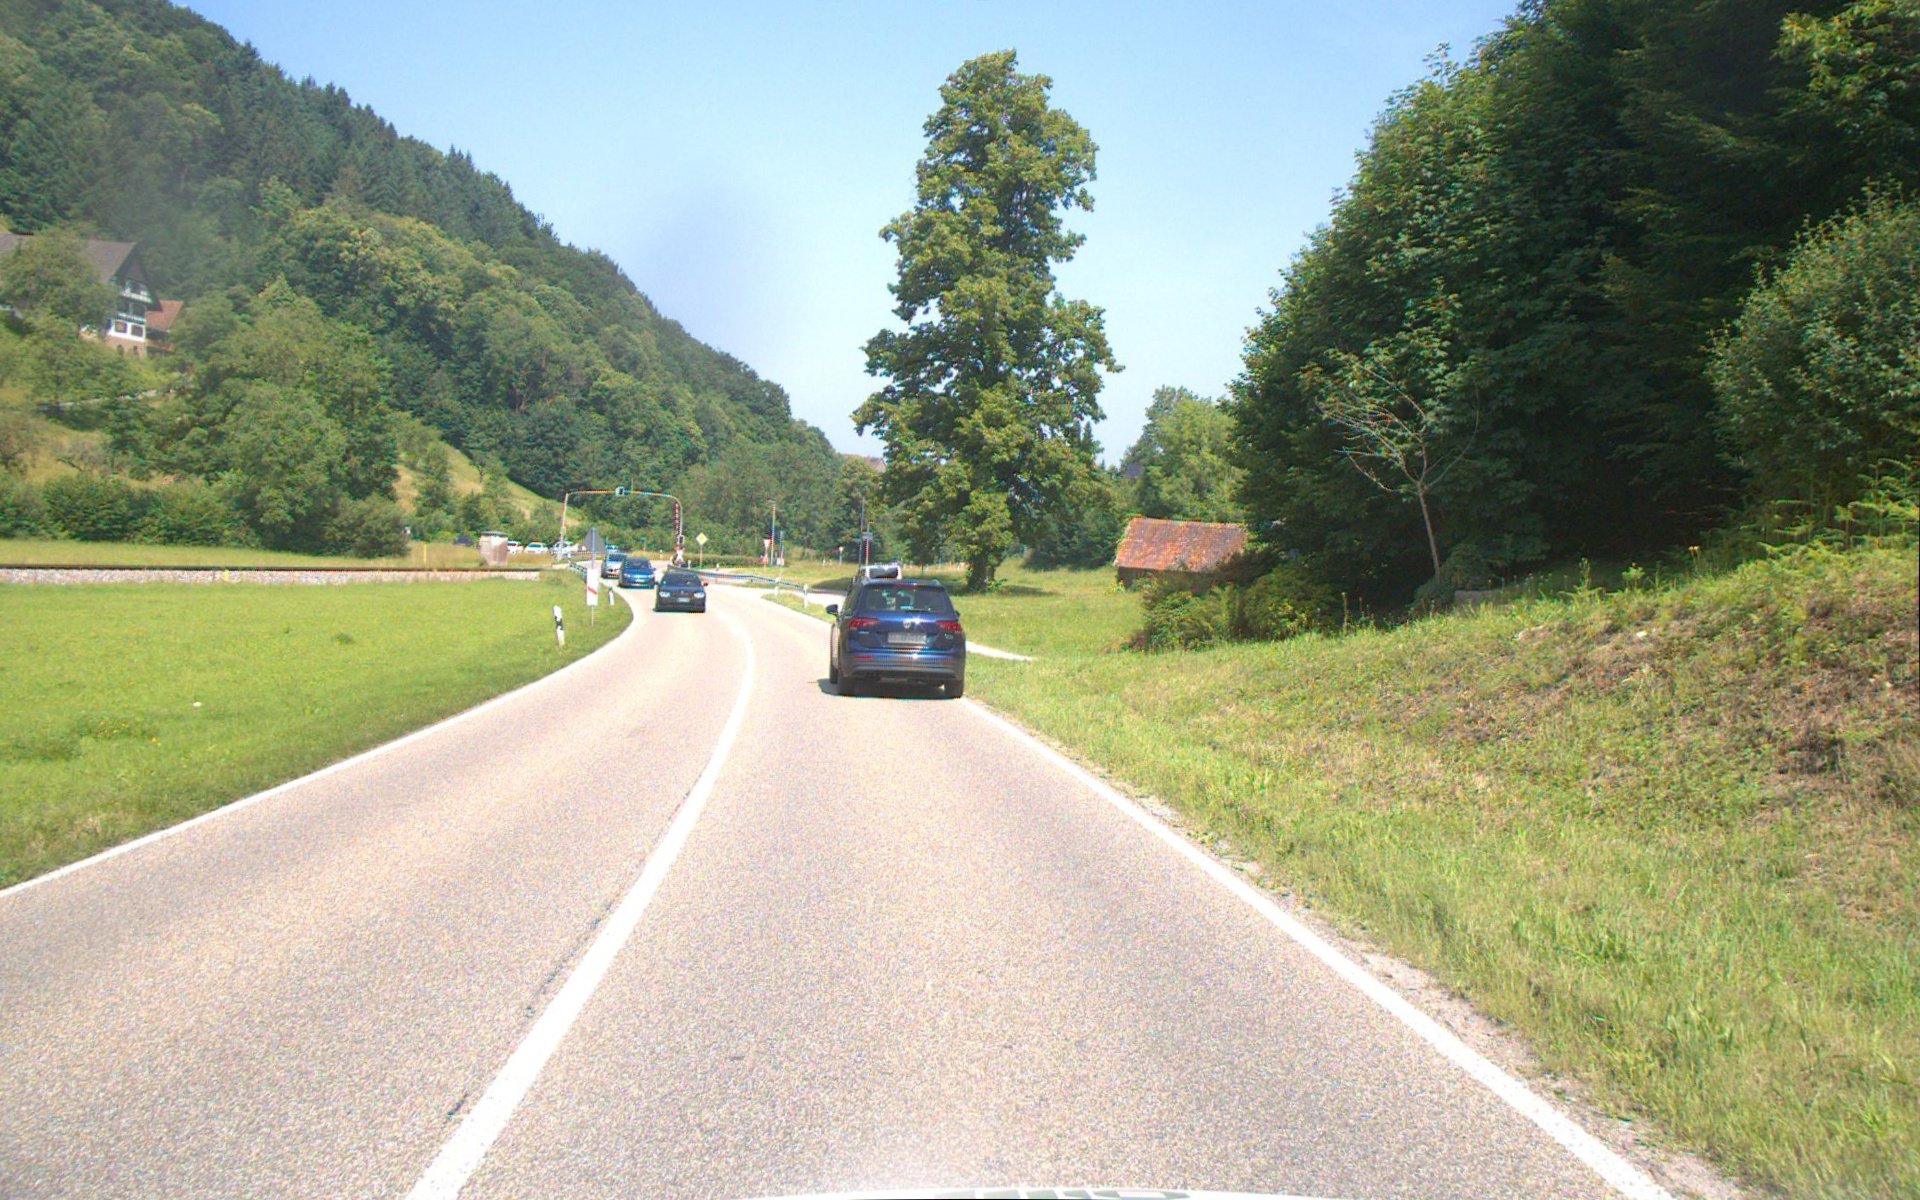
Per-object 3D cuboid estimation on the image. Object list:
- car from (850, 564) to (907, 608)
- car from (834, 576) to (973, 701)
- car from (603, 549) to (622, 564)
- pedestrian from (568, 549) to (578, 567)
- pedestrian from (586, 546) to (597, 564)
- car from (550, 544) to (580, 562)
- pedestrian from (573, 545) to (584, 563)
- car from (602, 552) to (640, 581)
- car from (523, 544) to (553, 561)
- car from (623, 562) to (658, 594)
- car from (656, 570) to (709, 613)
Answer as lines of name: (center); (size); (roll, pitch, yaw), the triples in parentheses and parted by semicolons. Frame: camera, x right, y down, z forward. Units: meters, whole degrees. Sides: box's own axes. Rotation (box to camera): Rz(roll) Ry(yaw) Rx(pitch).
car: (-3.891, -0.691, 78.208); (1.964, 1.880, 4.856); (-3, 2, -11)
car: (-0.915, 0.510, 24.374); (1.816, 1.678, 4.136); (0, 0, -5)
car: (-36.928, -4.638, 175.785); (1.793, 1.526, 4.267); (2, 1, -10)
pedestrian: (-39.609, -4.294, 169.440); (0.771, 1.874, 0.699); (2, 1, 9)
pedestrian: (-38.069, -4.643, 170.886); (0.635, 1.891, 0.769); (2, 1, 33)
car: (-42.244, -4.986, 177.032); (1.832, 1.813, 4.774); (3, 1, 2)
pedestrian: (-39.355, -4.750, 170.648); (0.753, 1.827, 0.793); (2, 1, 26)
car: (-21.713, -2.164, 105.709); (1.886, 1.744, 4.139); (2, 1, -18)
car: (-45.000, -5.029, 176.419); (1.953, 1.670, 4.902); (2, 1, -1)
car: (-17.788, -1.247, 92.287); (1.832, 1.651, 4.500); (2, 1, -10)
car: (-10.688, -0.351, 63.710); (1.881, 1.496, 4.501); (2, 1, -10)
